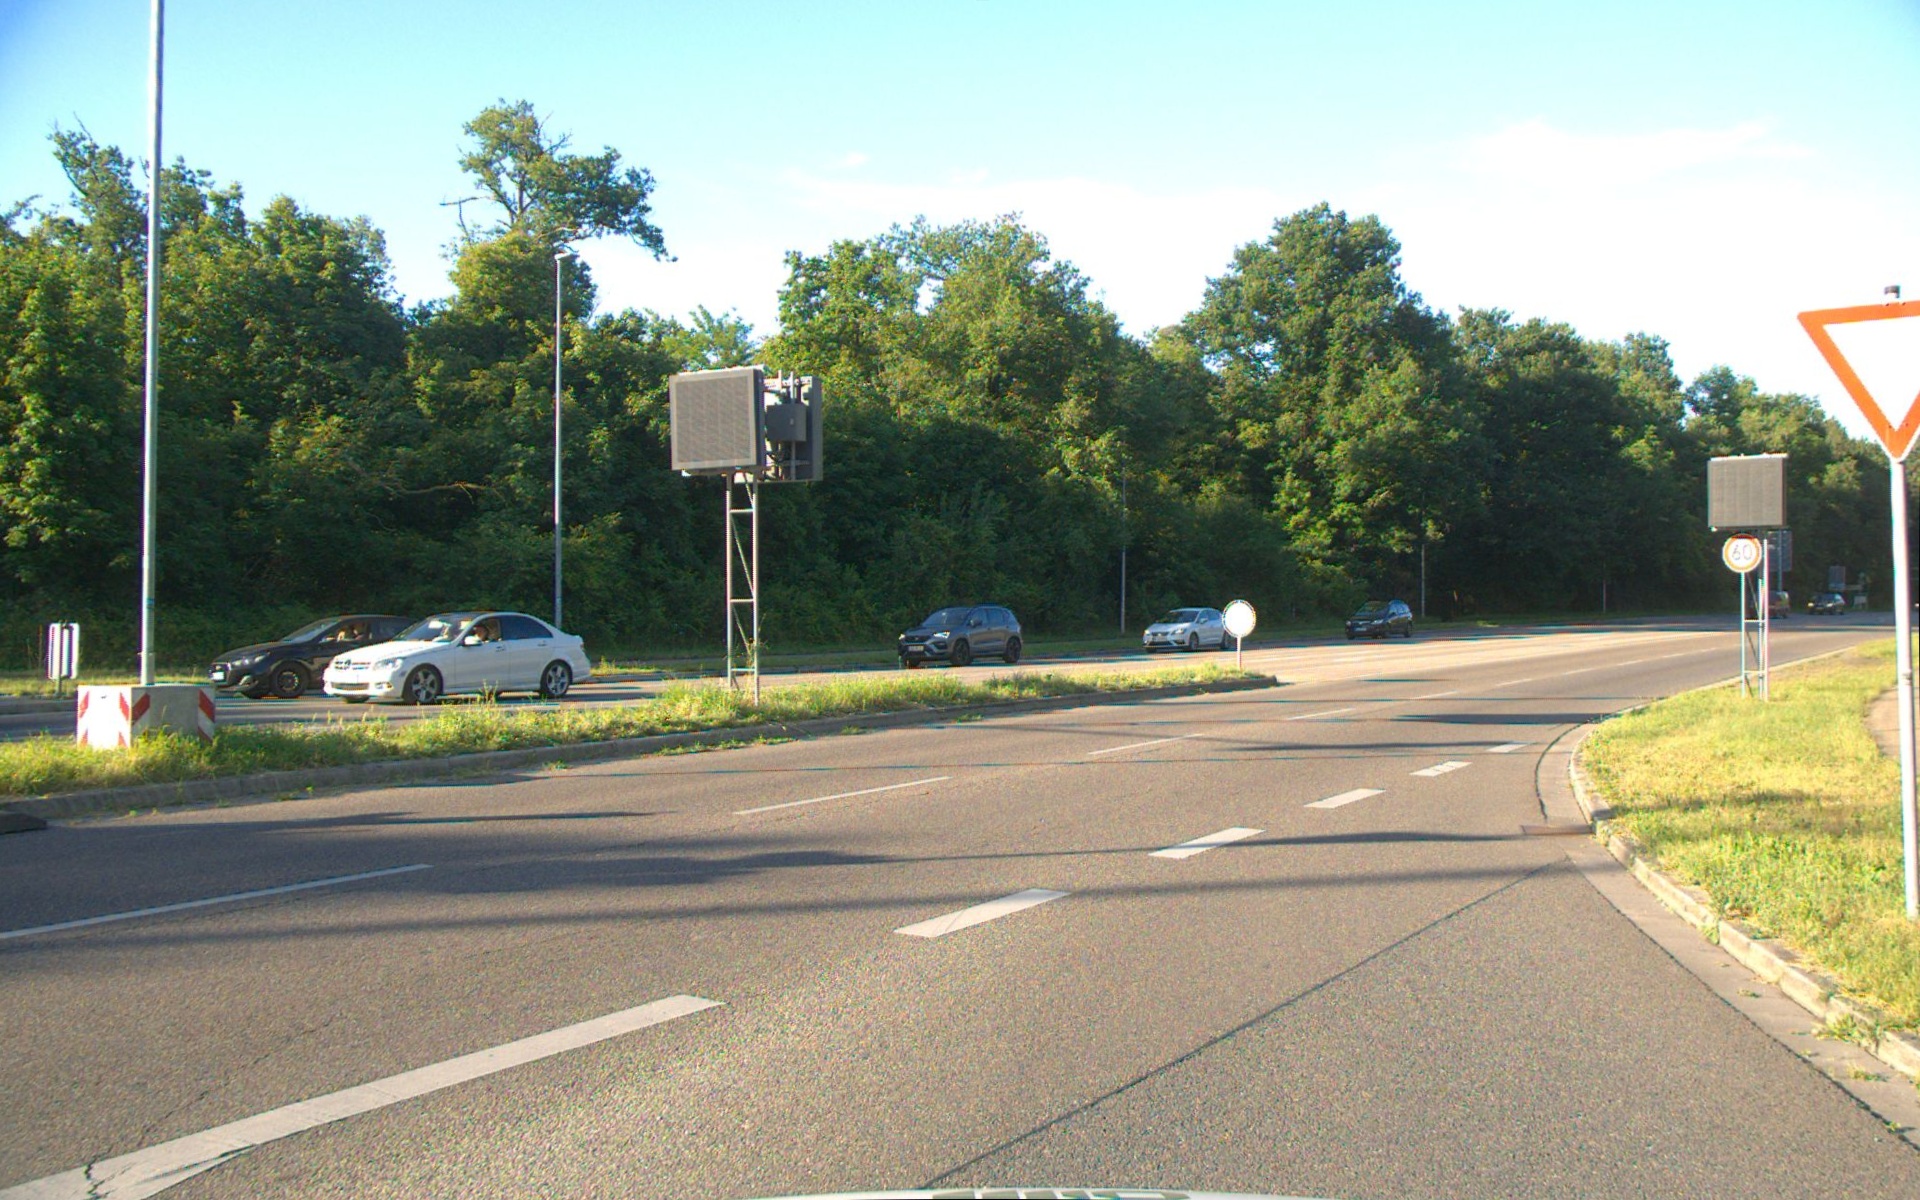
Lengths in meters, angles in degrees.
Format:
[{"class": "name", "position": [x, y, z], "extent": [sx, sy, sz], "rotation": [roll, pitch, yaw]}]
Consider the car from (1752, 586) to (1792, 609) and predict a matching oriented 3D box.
[{"class": "car", "position": [57.674, -0.179, 117.439], "extent": [1.959, 1.556, 4.636], "rotation": [0, 0, 34]}]

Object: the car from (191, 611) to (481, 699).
[{"class": "car", "position": [-11.136, 0.920, 29.828], "extent": [1.959, 1.408, 4.636], "rotation": [0, 0, 34]}]

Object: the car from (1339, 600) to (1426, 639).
[{"class": "car", "position": [17.931, 0.793, 70.127], "extent": [1.961, 1.556, 4.631], "rotation": [0, 0, 37]}]

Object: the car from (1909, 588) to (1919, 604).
[{"class": "car", "position": [94.613, -0.351, 162.571], "extent": [1.959, 1.556, 4.636], "rotation": [0, 0, 34]}]

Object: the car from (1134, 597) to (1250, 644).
[{"class": "car", "position": [7.955, 0.668, 56.461], "extent": [1.960, 1.556, 4.633], "rotation": [0, 0, 36]}]

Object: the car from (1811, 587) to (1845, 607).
[{"class": "car", "position": [70.921, -0.234, 135.126], "extent": [1.959, 1.556, 4.636], "rotation": [0, 0, 34]}]

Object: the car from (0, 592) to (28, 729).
[{"class": "car", "position": [-13.144, 0.713, 18.112], "extent": [1.956, 1.608, 4.824], "rotation": [0, 0, 30]}]

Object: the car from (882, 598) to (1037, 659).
[{"class": "car", "position": [0.043, 0.728, 44.992], "extent": [1.959, 1.556, 4.636], "rotation": [0, 0, 34]}]

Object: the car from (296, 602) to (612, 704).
[{"class": "car", "position": [-7.964, 0.765, 26.514], "extent": [1.957, 1.461, 4.797], "rotation": [0, 0, 31]}]
